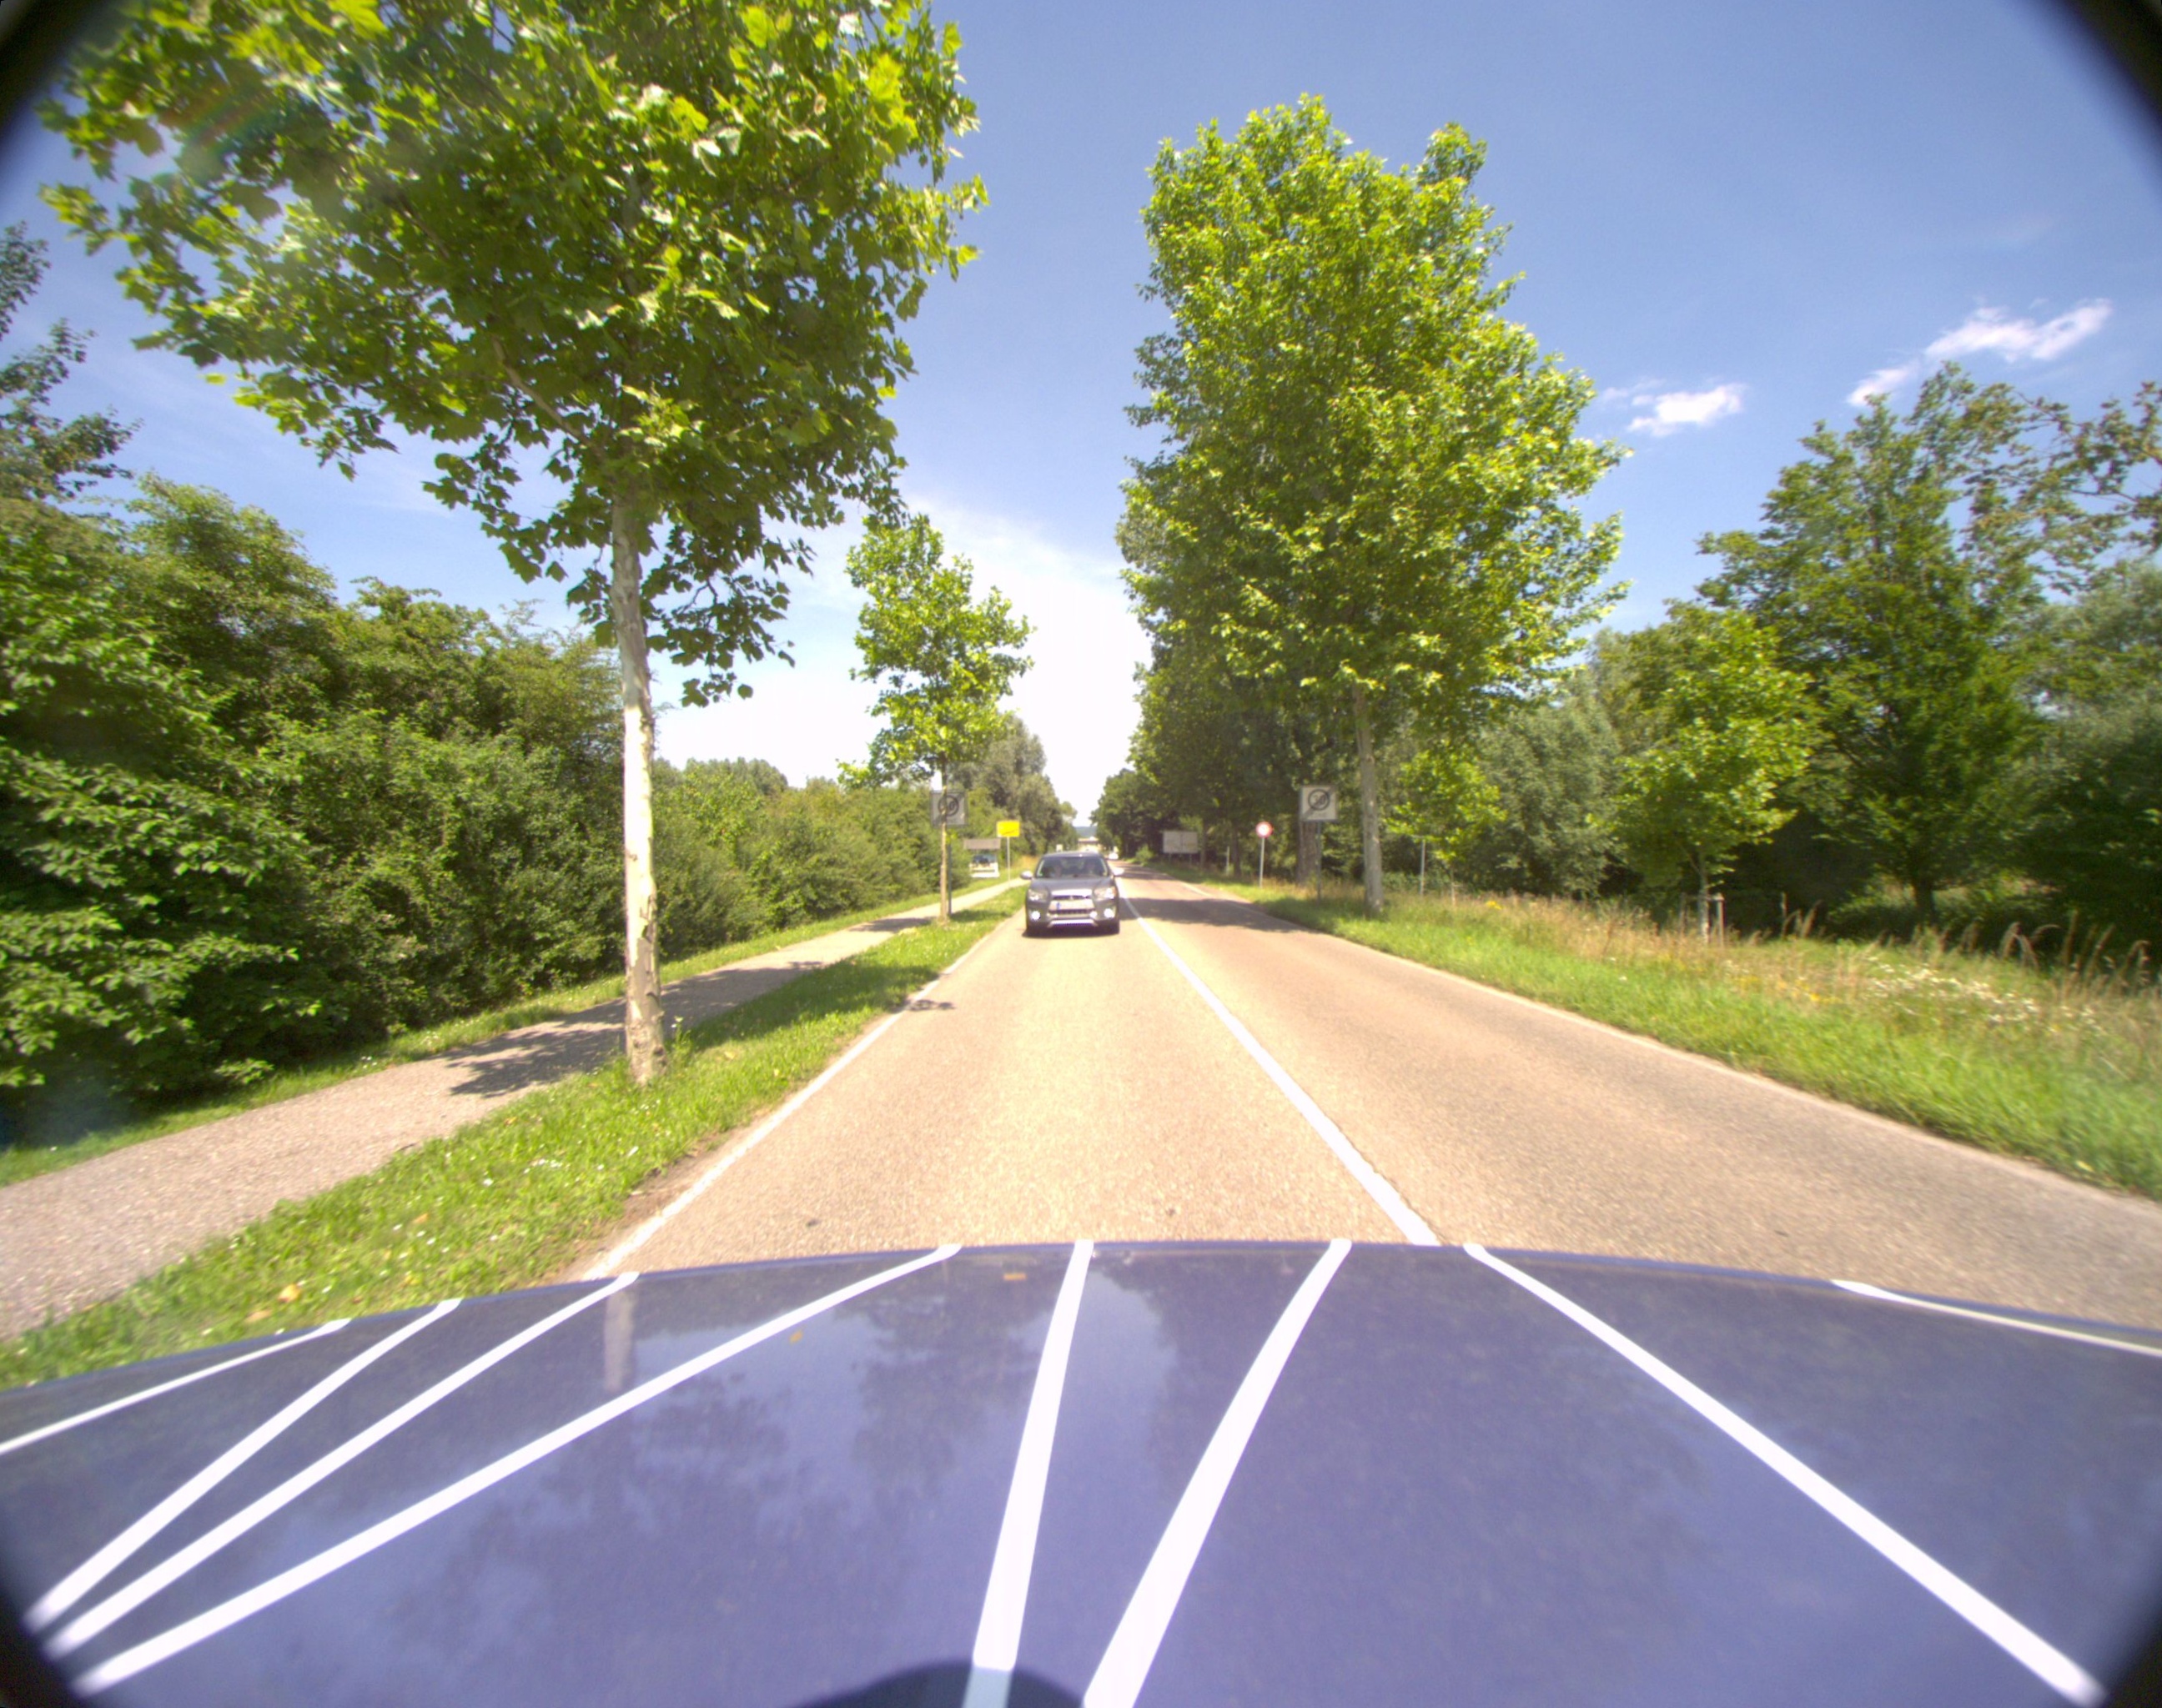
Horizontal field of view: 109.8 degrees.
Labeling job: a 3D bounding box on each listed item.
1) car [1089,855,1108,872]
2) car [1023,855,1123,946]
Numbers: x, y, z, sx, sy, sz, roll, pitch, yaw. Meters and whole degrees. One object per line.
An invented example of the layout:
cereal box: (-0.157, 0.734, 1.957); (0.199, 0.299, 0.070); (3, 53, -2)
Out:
car: (1.377, 0.709, 60.033); (1.429, 1.270, 3.159); (-1, 0, 1)
car: (-0.126, 0.825, 15.772); (1.750, 1.525, 4.524); (-1, 1, 0)
